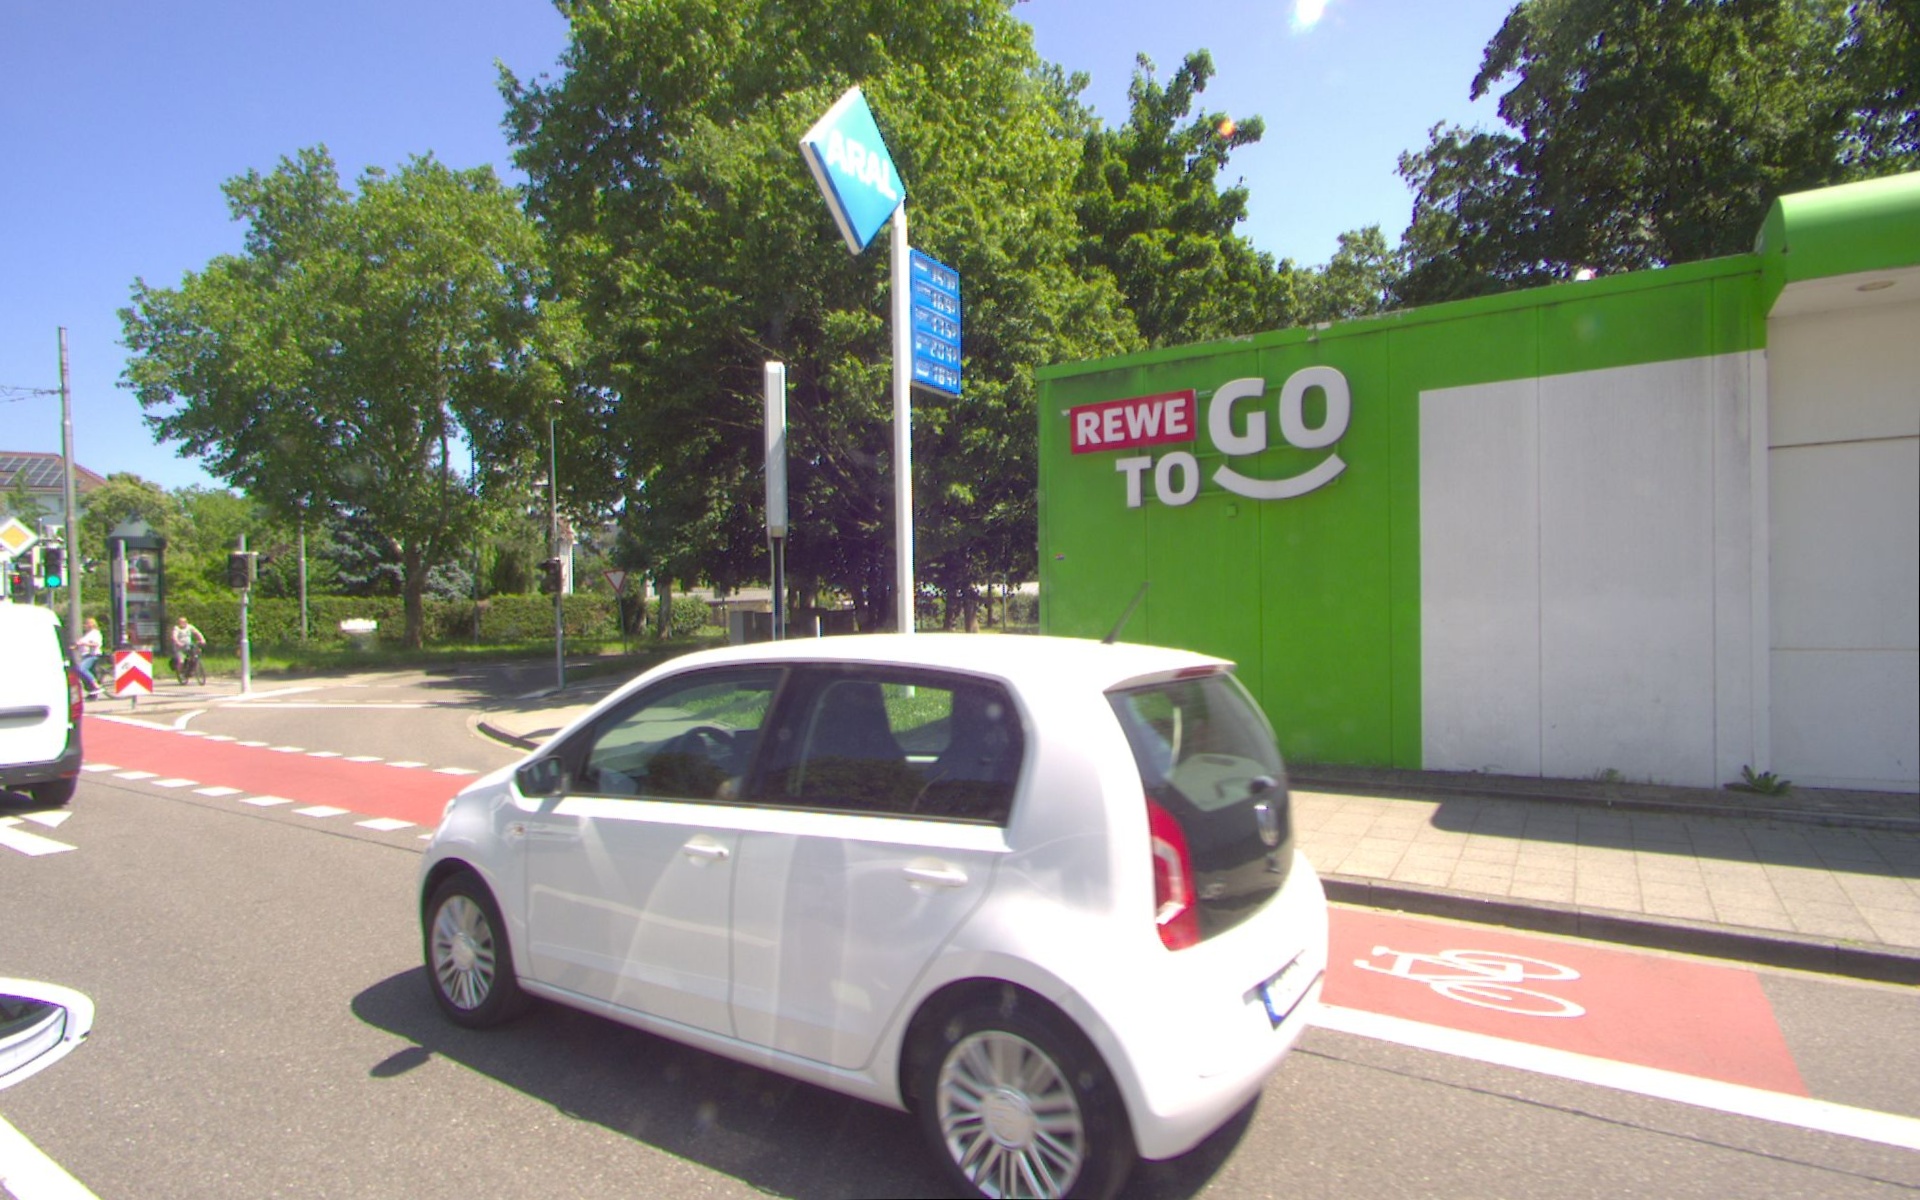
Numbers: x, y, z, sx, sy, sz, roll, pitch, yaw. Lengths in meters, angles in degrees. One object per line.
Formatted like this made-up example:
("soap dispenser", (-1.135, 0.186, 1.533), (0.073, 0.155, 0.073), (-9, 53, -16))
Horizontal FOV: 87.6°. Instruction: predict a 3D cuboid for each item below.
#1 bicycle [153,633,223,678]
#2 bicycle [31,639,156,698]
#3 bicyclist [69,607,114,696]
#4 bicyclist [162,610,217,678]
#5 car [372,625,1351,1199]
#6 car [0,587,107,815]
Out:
("bicycle", (-20.800, 1.481, 26.973), (1.929, 1.174, 0.890), (-1, -1, 33))
("bicycle", (-18.061, 1.401, 20.901), (0.884, 1.139, 1.859), (-1, -1, 40))
("bicyclist", (-18.092, 1.059, 20.859), (0.759, 1.810, 0.574), (-1, -2, 40))
("bicyclist", (-20.763, 1.173, 26.994), (0.716, 1.811, 0.971), (-1, 0, 32))
("car", (-0.484, 0.841, 3.736), (3.387, 1.466, 1.606), (-1, -2, 33))
("car", (-9.449, 0.839, 8.863), (4.005, 1.811, 1.725), (-1, -2, 31))
